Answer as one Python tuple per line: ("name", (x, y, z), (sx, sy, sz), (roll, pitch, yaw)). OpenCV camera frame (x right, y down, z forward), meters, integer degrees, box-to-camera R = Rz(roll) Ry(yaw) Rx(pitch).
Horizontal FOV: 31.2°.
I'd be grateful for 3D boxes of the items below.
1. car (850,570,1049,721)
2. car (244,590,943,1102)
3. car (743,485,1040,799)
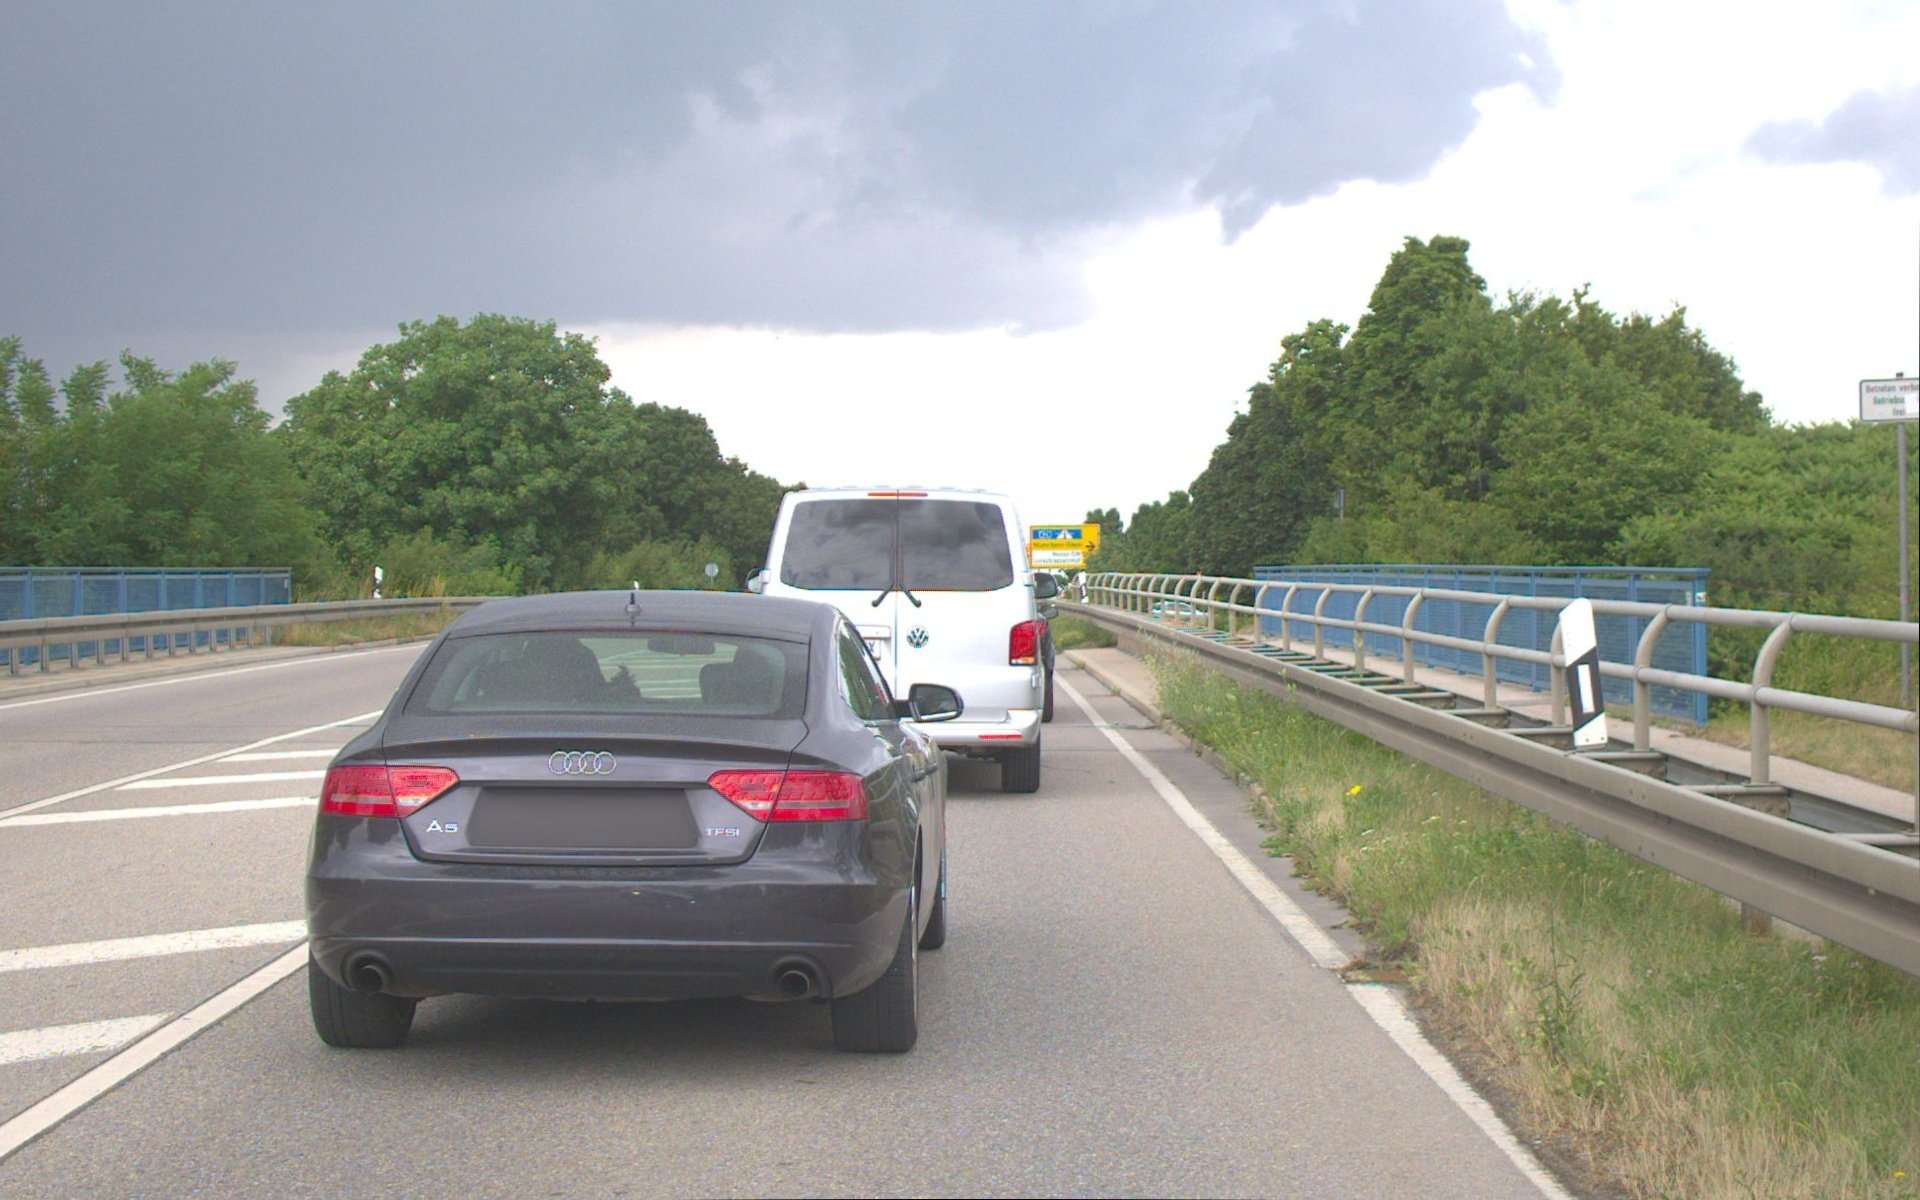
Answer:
("car", (-0.060, 0.401, 33.492), (1.821, 1.376, 4.072), (0, 0, 1))
("car", (-1.013, 0.668, 11.437), (1.821, 1.376, 4.072), (0, 0, 1))
("car", (-0.429, 0.243, 23.197), (1.828, 1.929, 4.000), (0, 0, 0))
